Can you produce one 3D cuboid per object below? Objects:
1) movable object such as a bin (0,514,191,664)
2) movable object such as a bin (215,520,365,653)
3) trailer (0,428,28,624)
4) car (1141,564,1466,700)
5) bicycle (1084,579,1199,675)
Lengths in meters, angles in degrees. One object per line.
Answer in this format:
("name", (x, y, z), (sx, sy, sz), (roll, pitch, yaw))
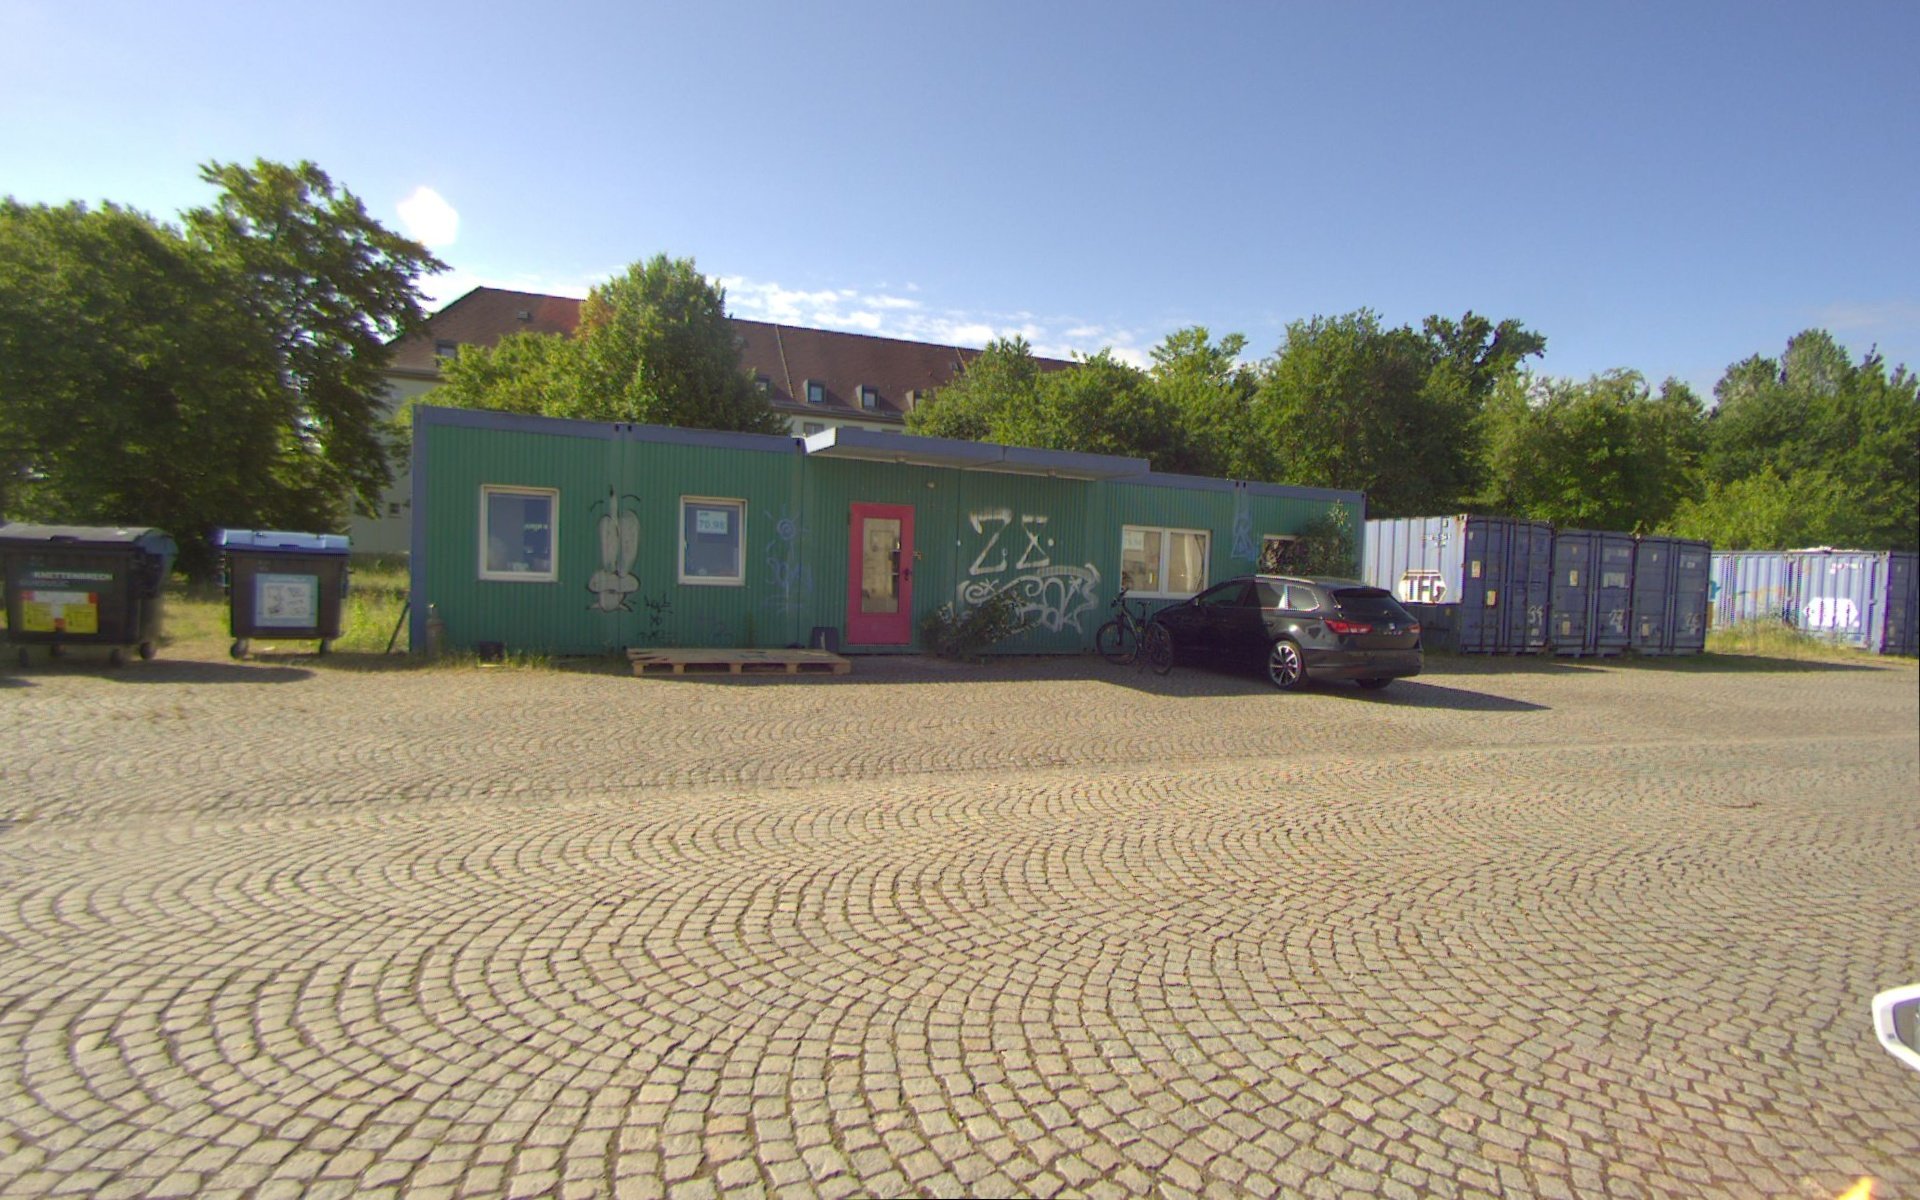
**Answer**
("movable object such as a bin", (-9.207, -0.123, 10.654), (1.420, 1.477, 1.015), (2, 3, -23))
("movable object such as a bin", (-7.949, -0.162, 11.986), (1.425, 1.477, 0.877), (1, 3, -33))
("trailer", (-13.022, -0.918, 11.632), (1.926, 2.602, 4.620), (2, 3, -25))
("car", (4.551, 0.332, 14.072), (1.904, 1.469, 4.240), (2, 3, -23))
("bicycle", (2.540, 0.354, 14.285), (0.659, 1.186, 1.798), (2, 3, -24))
